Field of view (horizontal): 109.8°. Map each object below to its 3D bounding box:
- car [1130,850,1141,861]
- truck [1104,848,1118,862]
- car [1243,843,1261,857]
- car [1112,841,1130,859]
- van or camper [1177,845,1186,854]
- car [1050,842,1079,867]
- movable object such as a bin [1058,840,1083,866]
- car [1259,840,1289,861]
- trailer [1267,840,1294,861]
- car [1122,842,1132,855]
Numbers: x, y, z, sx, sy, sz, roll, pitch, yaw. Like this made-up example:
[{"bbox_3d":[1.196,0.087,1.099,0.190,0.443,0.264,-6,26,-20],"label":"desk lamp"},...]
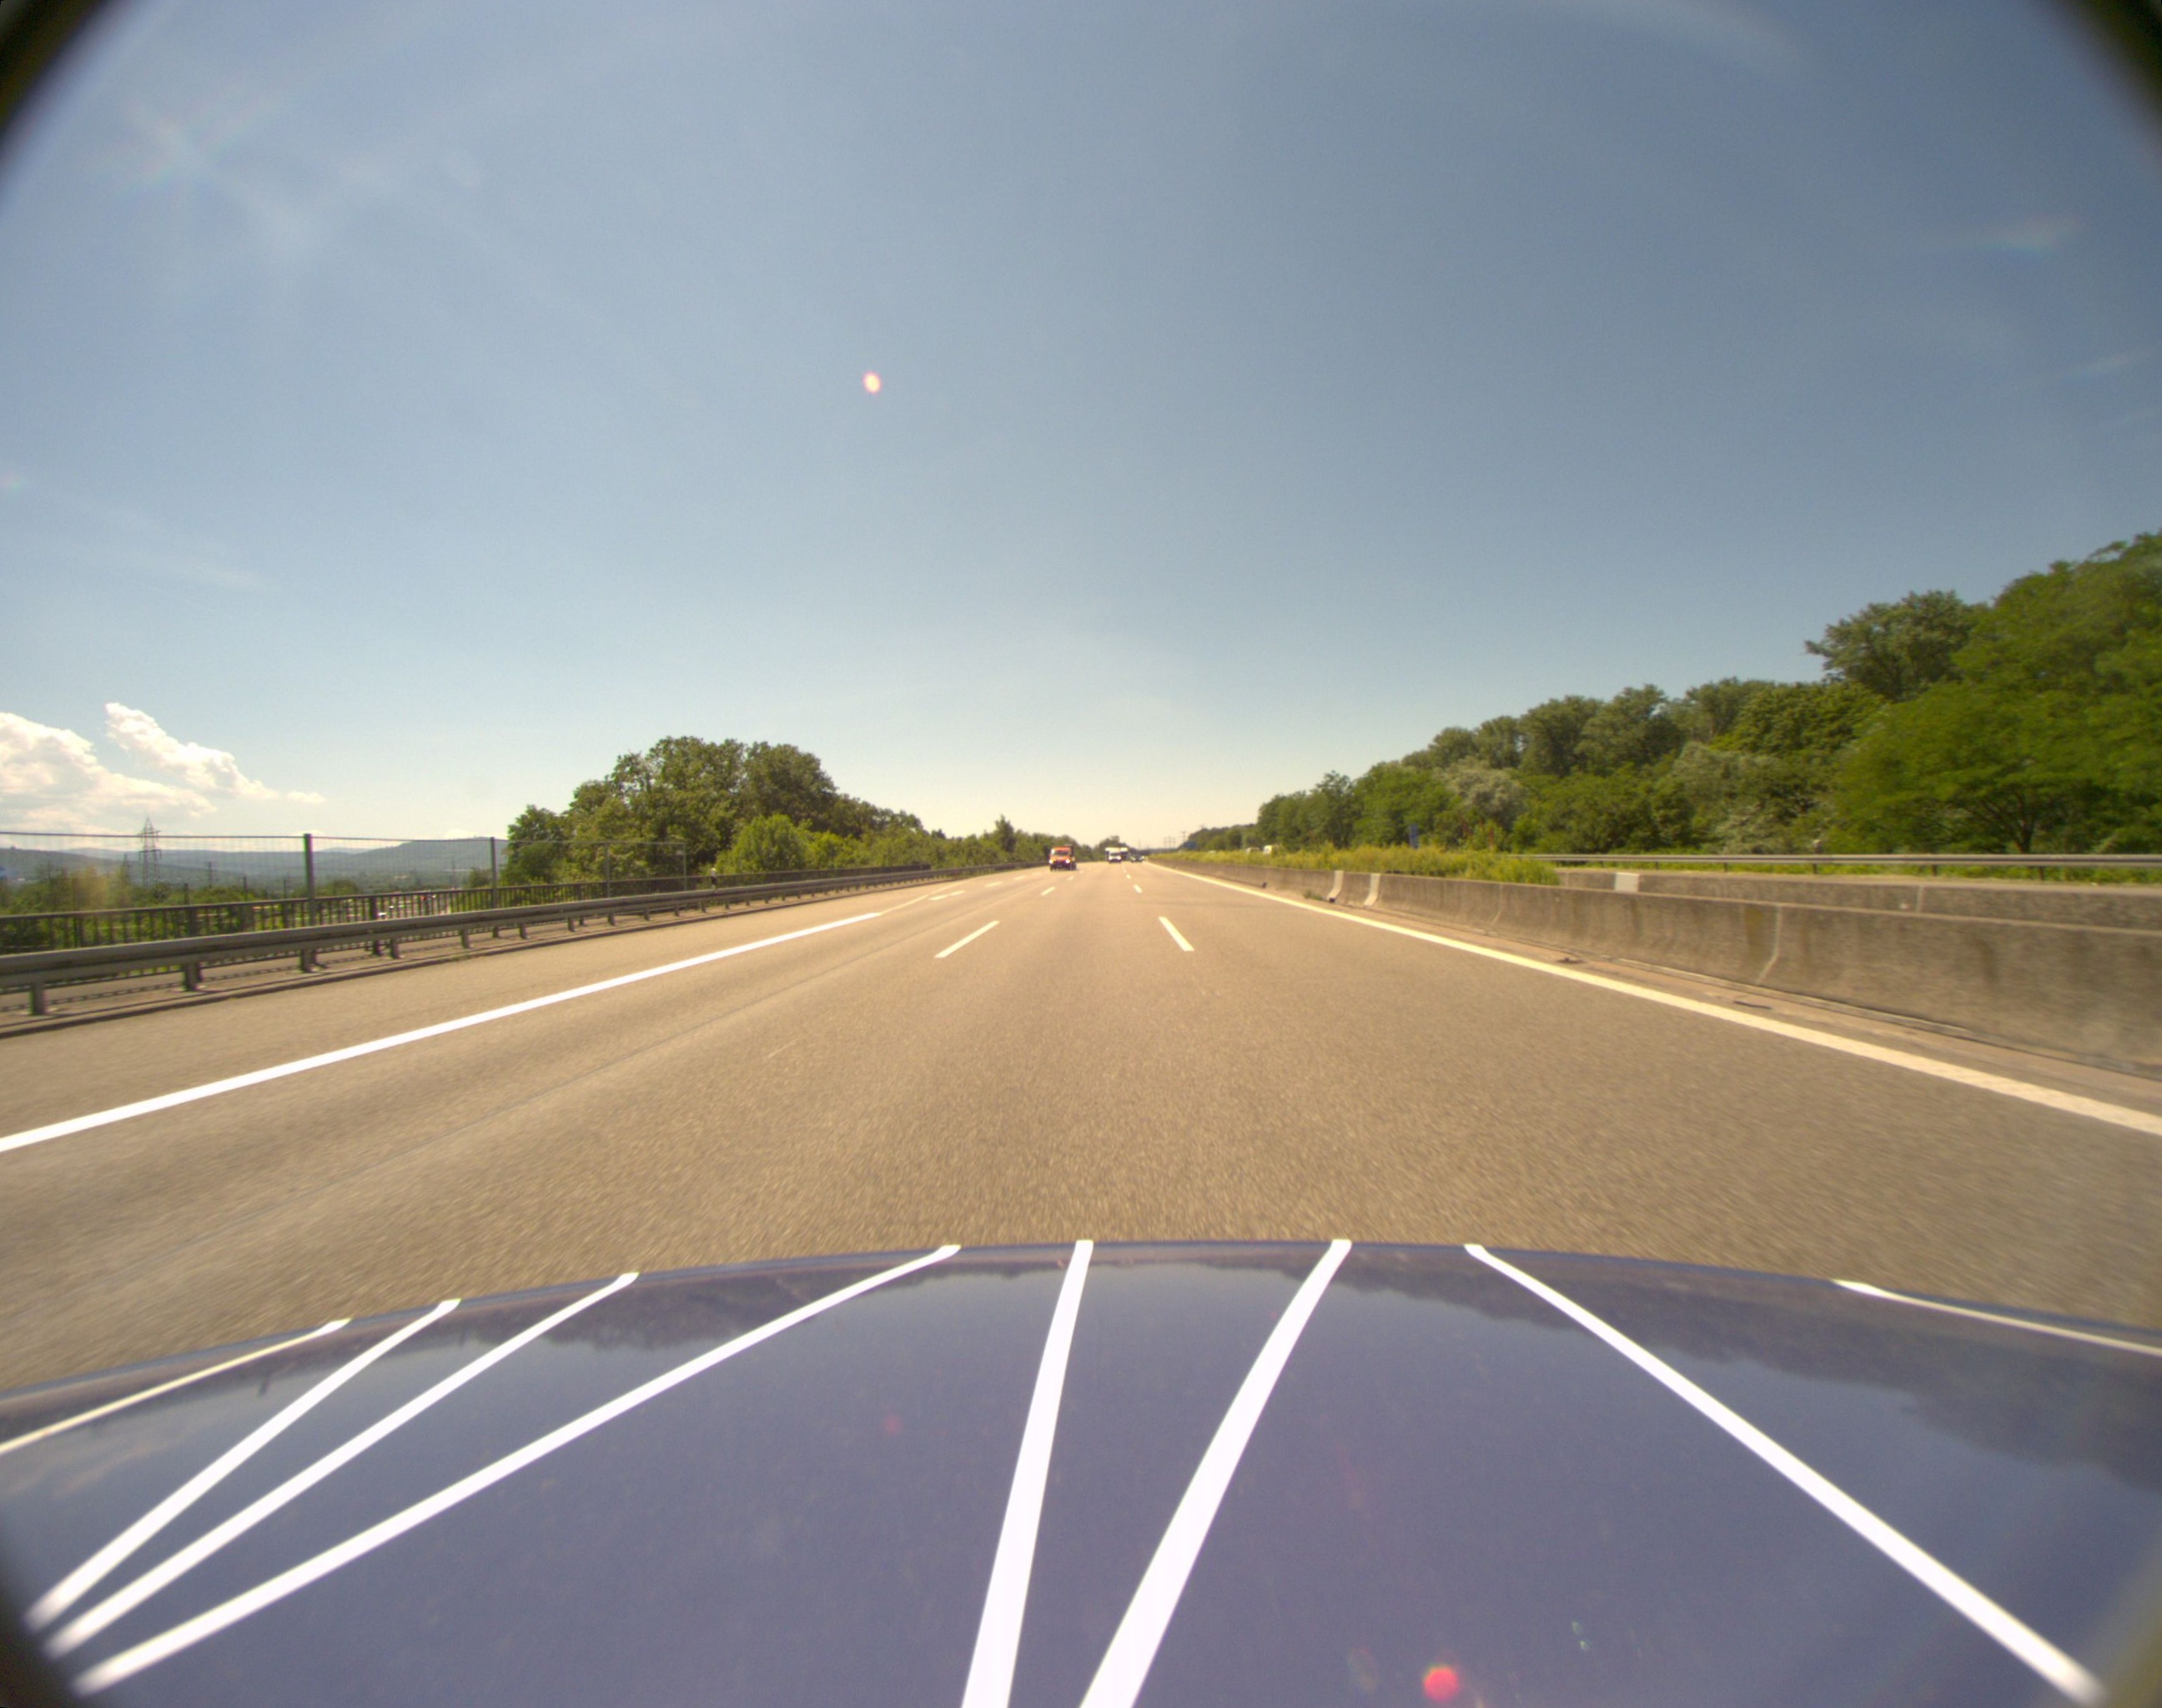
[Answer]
[{"bbox_3d":[10.183,0.190,142.952,1.998,2.002,4.001,-1,0,4],"label":"car"},{"bbox_3d":[8.887,0.344,227.304,2.988,4.186,7.600,-2,-1,11],"label":"truck"},{"bbox_3d":[26.403,-0.584,117.527,1.998,2.002,4.619,-1,0,3],"label":"car"},{"bbox_3d":[7.164,-0.691,135.354,2.521,2.856,6.404,-5,-1,7],"label":"car"},{"bbox_3d":[27.246,-1.288,205.762,2.255,2.373,6.762,-1,0,6],"label":"van or camper"},{"bbox_3d":[-1.614,0.090,77.811,1.998,2.390,7.230,-2,-1,6],"label":"car"},{"bbox_3d":[-1.108,-0.090,84.016,2.178,2.798,4.764,-2,-1,6],"label":"movable object such as a bin"},{"bbox_3d":[20.129,-0.351,79.400,2.130,2.070,4.971,-1,0,3],"label":"car"},{"bbox_3d":[19.995,-0.341,76.316,2.107,2.014,2.369,-1,0,2],"label":"trailer"},{"bbox_3d":[14.509,-1.709,238.847,2.796,4.090,7.308,-2,1,4],"label":"car"}]
